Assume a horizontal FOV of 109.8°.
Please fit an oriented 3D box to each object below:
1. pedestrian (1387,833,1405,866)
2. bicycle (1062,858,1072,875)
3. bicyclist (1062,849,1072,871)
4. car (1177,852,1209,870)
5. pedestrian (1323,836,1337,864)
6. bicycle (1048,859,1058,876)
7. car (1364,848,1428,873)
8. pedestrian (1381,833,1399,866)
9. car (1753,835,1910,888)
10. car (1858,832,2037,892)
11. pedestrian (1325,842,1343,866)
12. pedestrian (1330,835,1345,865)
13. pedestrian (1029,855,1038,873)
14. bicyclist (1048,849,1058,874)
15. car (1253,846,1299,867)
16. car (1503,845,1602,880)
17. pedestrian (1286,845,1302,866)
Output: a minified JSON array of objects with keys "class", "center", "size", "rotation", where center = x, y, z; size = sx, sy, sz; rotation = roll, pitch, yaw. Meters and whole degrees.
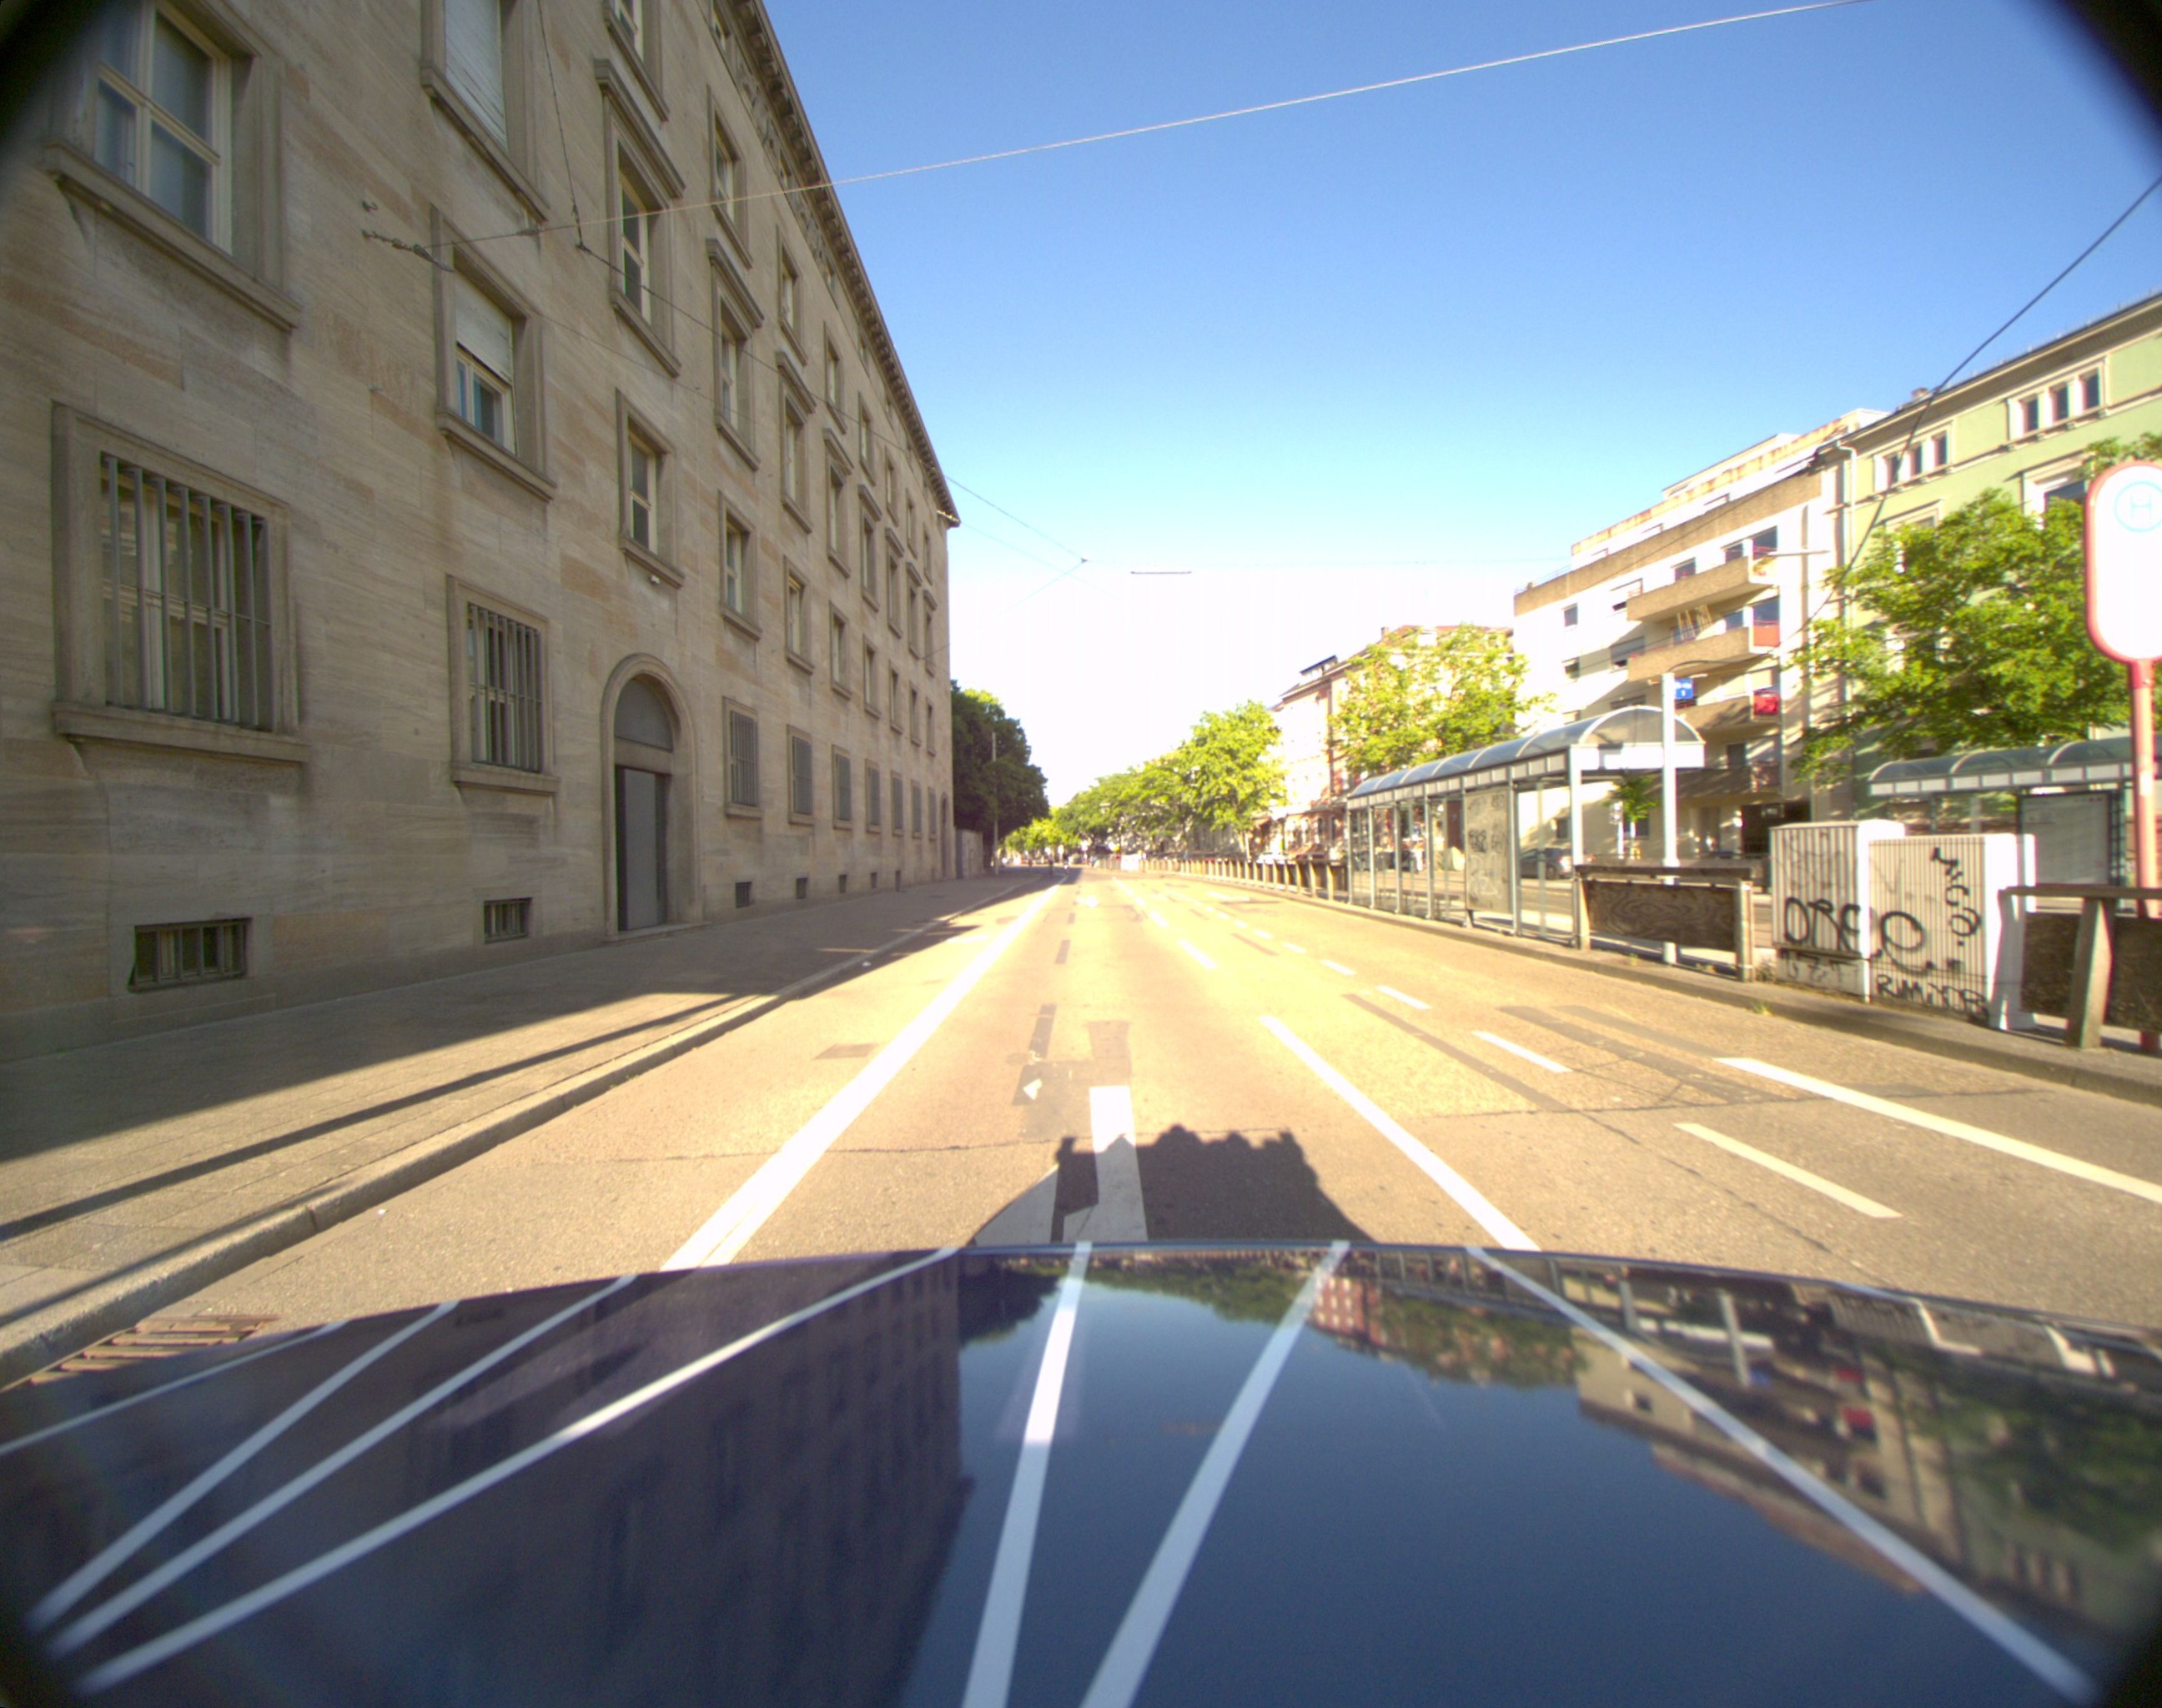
[{"class":"pedestrian","center":[21.313,-0.300,51.414],"size":[0.813,2.194,0.756],"rotation":[-1,1,-10]},{"class":"bicycle","center":[-1.014,0.913,55.311],"size":[0.625,1.167,1.566],"rotation":[0,0,1]},{"class":"bicyclist","center":[-1.005,0.443,55.217],"size":[0.728,1.570,0.775],"rotation":[0,1,1]},{"class":"car","center":[9.498,0.592,64.853],"size":[1.648,1.480,3.997],"rotation":[-1,0,-7]},{"class":"pedestrian","center":[19.395,-0.314,59.264],"size":[0.812,2.194,0.756],"rotation":[-1,1,-4]},{"class":"bicycle","center":[-2.034,0.994,55.781],"size":[0.625,1.214,1.659],"rotation":[-3,1,1]},{"class":"car","center":[18.439,0.371,44.680],"size":[1.609,1.388,3.996],"rotation":[-1,0,-9]},{"class":"pedestrian","center":[21.322,-0.312,52.442],"size":[0.813,2.194,0.756],"rotation":[-1,1,-10]},{"class":"car","center":[23.986,0.208,24.312],"size":[4.002,1.573,1.761],"rotation":[-1,0,-14]},{"class":"car","center":[24.785,0.206,21.771],"size":[4.002,1.573,1.761],"rotation":[-1,0,-14]},{"class":"pedestrian","center":[18.449,-0.003,55.388],"size":[0.855,1.710,1.019],"rotation":[-1,1,-9]},{"class":"pedestrian","center":[19.500,-0.301,57.776],"size":[0.813,2.194,0.756],"rotation":[-1,1,-10]},{"class":"pedestrian","center":[-3.704,0.783,58.887],"size":[0.548,1.327,0.587],"rotation":[-1,1,7]},{"class":"bicyclist","center":[-2.064,0.545,55.637],"size":[0.625,1.729,0.688],"rotation":[-3,1,1]},{"class":"car","center":[16.343,0.223,63.602],"size":[4.134,1.698,1.848],"rotation":[-1,1,-45]},{"class":"car","center":[20.939,0.353,33.915],"size":[1.654,1.419,3.737],"rotation":[-1,0,-11]},{"class":"pedestrian","center":[16.449,0.132,58.803],"size":[0.868,1.619,0.891],"rotation":[-1,1,-10]}]
